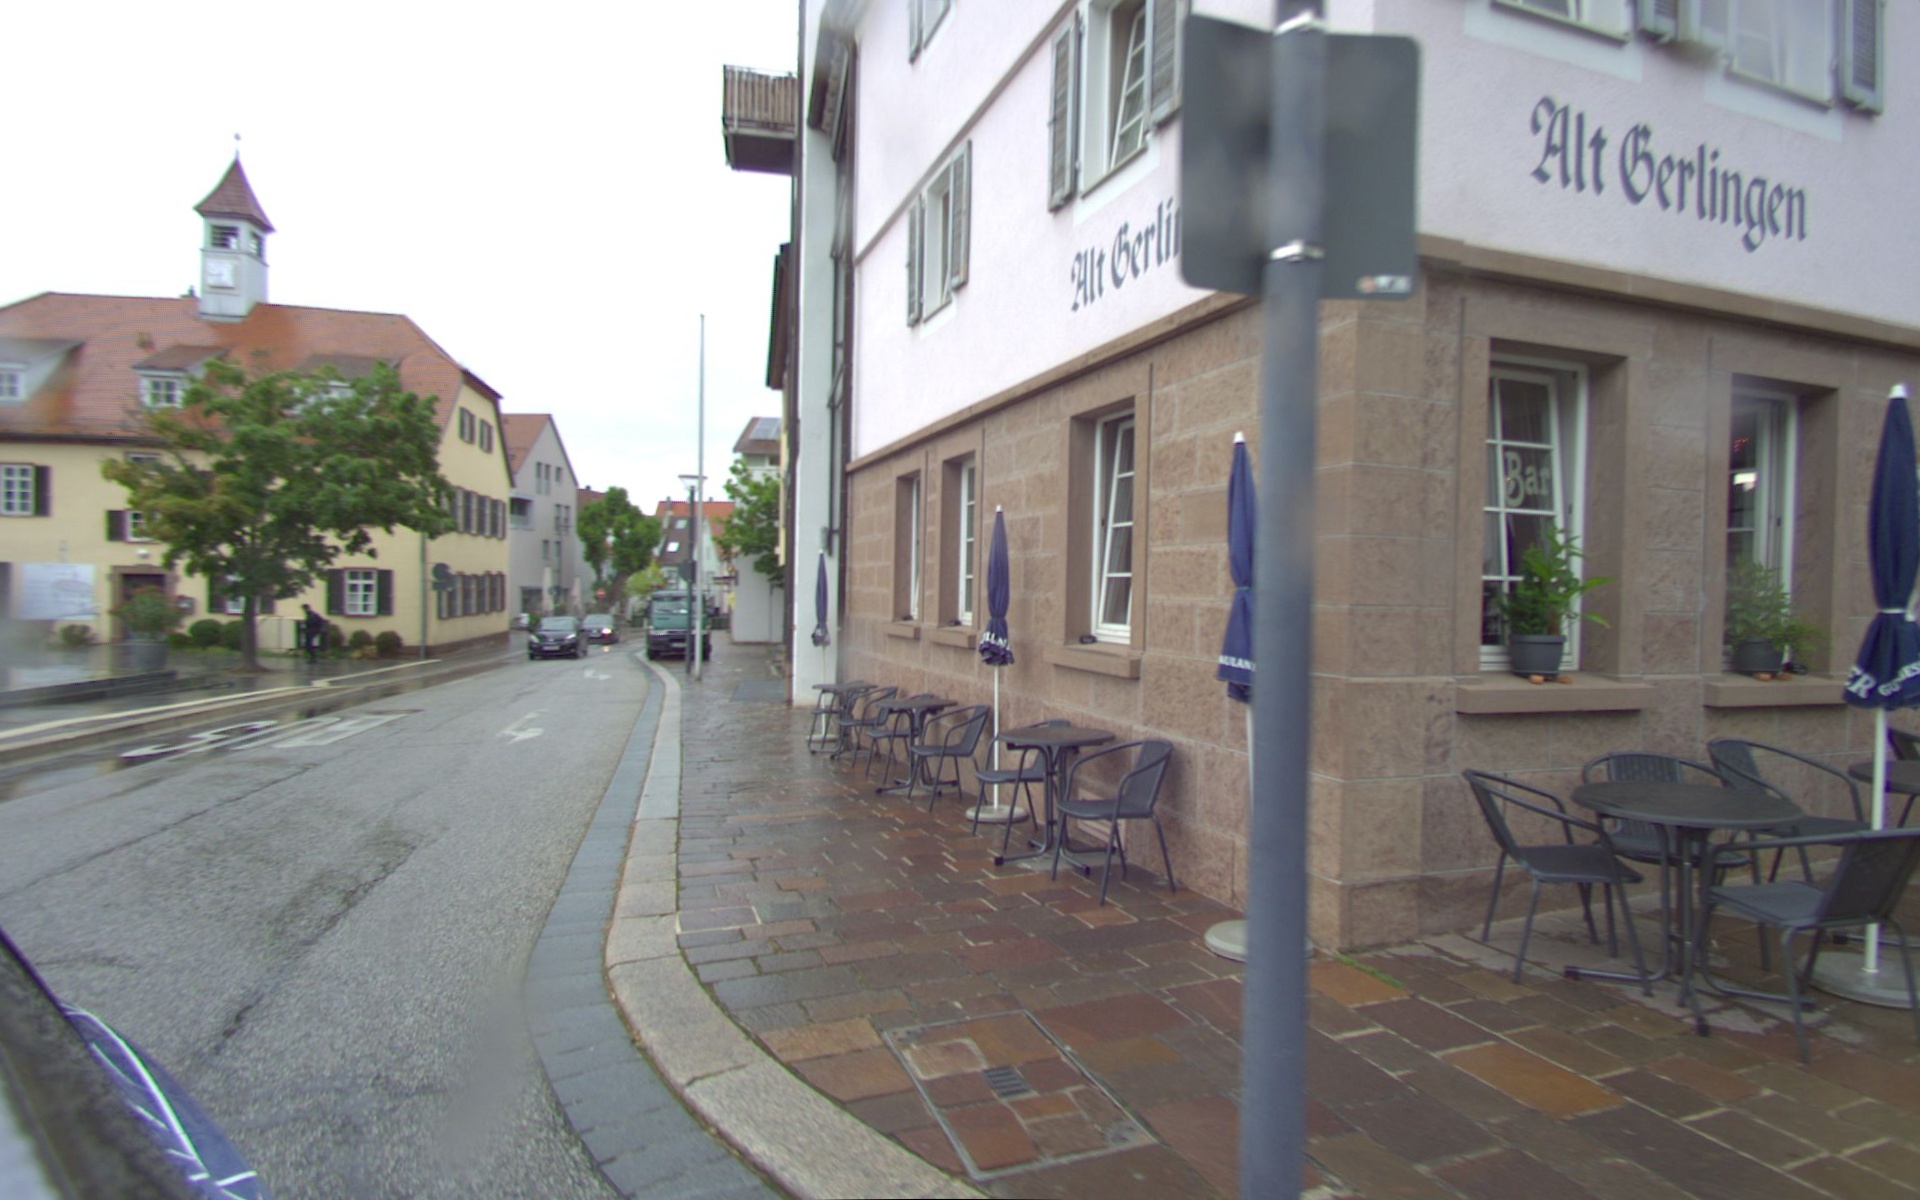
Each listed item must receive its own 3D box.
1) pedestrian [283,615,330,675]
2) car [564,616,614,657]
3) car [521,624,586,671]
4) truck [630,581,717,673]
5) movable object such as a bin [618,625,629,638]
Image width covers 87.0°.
[{"bbox_3d":[-18.961,1.294,29.377,0.712,1.706,0.860,0,-2,26],"label":"pedestrian"},{"bbox_3d":[-18.317,1.797,50.089,1.966,1.918,4.011,0,-2,-15],"label":"car"},{"bbox_3d":[-14.620,1.667,36.572,1.708,1.567,3.855,0,-1,-14],"label":"car"},{"bbox_3d":[-9.968,0.967,34.770,2.439,2.816,6.620,2,-3,-19],"label":"truck"},{"bbox_3d":[-28.760,2.684,86.452,0.754,1.083,0.538,1,-1,-5],"label":"movable object such as a bin"}]
